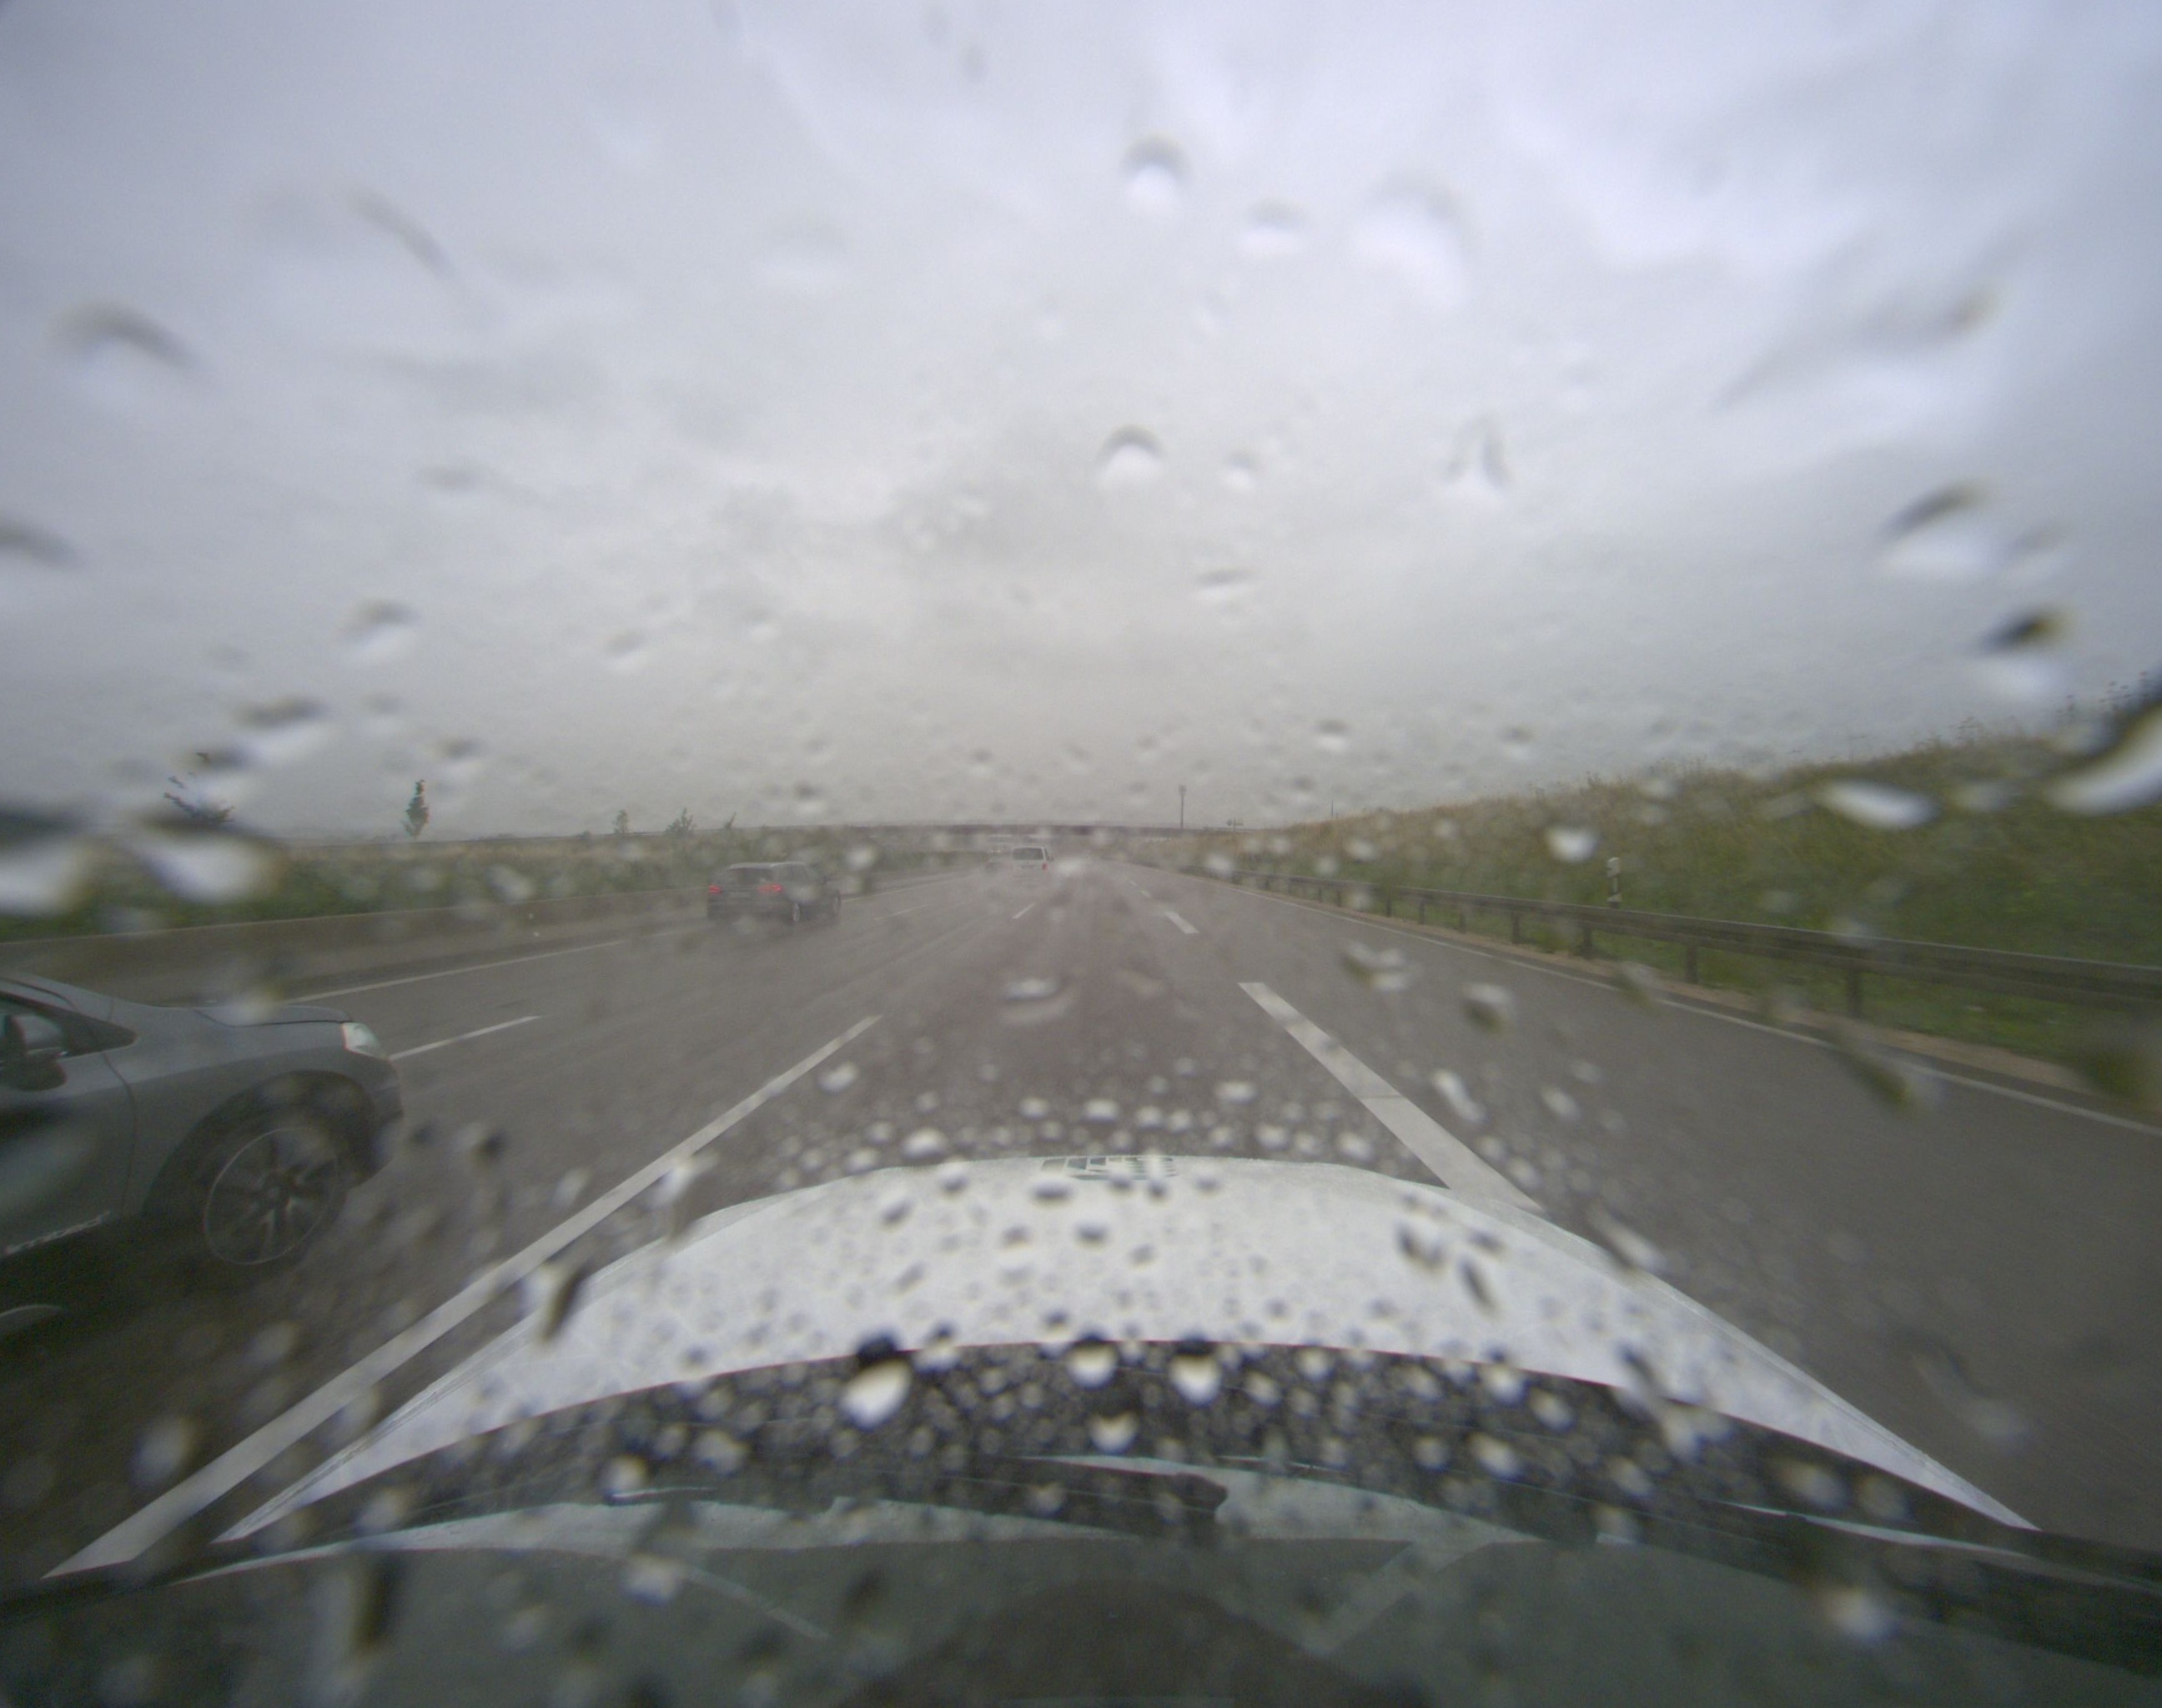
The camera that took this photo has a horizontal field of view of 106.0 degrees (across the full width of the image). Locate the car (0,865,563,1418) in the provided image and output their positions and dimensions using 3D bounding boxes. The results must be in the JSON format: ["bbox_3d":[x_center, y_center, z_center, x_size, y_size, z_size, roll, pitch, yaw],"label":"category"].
[{"bbox_3d":[-3.896,0.798,2.165,1.839,1.513,4.759,-1,-1,2],"label":"car"}]

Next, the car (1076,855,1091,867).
[{"bbox_3d":[0.207,0.685,82.187,1.463,1.208,2.990,-1,0,-1],"label":"car"}]

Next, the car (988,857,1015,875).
[{"bbox_3d":[-5.992,0.901,61.515,1.461,1.257,3.344,-1,0,4],"label":"car"}]

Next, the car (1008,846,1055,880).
[{"bbox_3d":[-2.391,0.447,40.292,1.889,1.585,4.003,0,0,3],"label":"car"}]

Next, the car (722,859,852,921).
[{"bbox_3d":[-7.212,0.832,20.411,1.606,1.354,4.004,-1,0,3],"label":"car"}]
